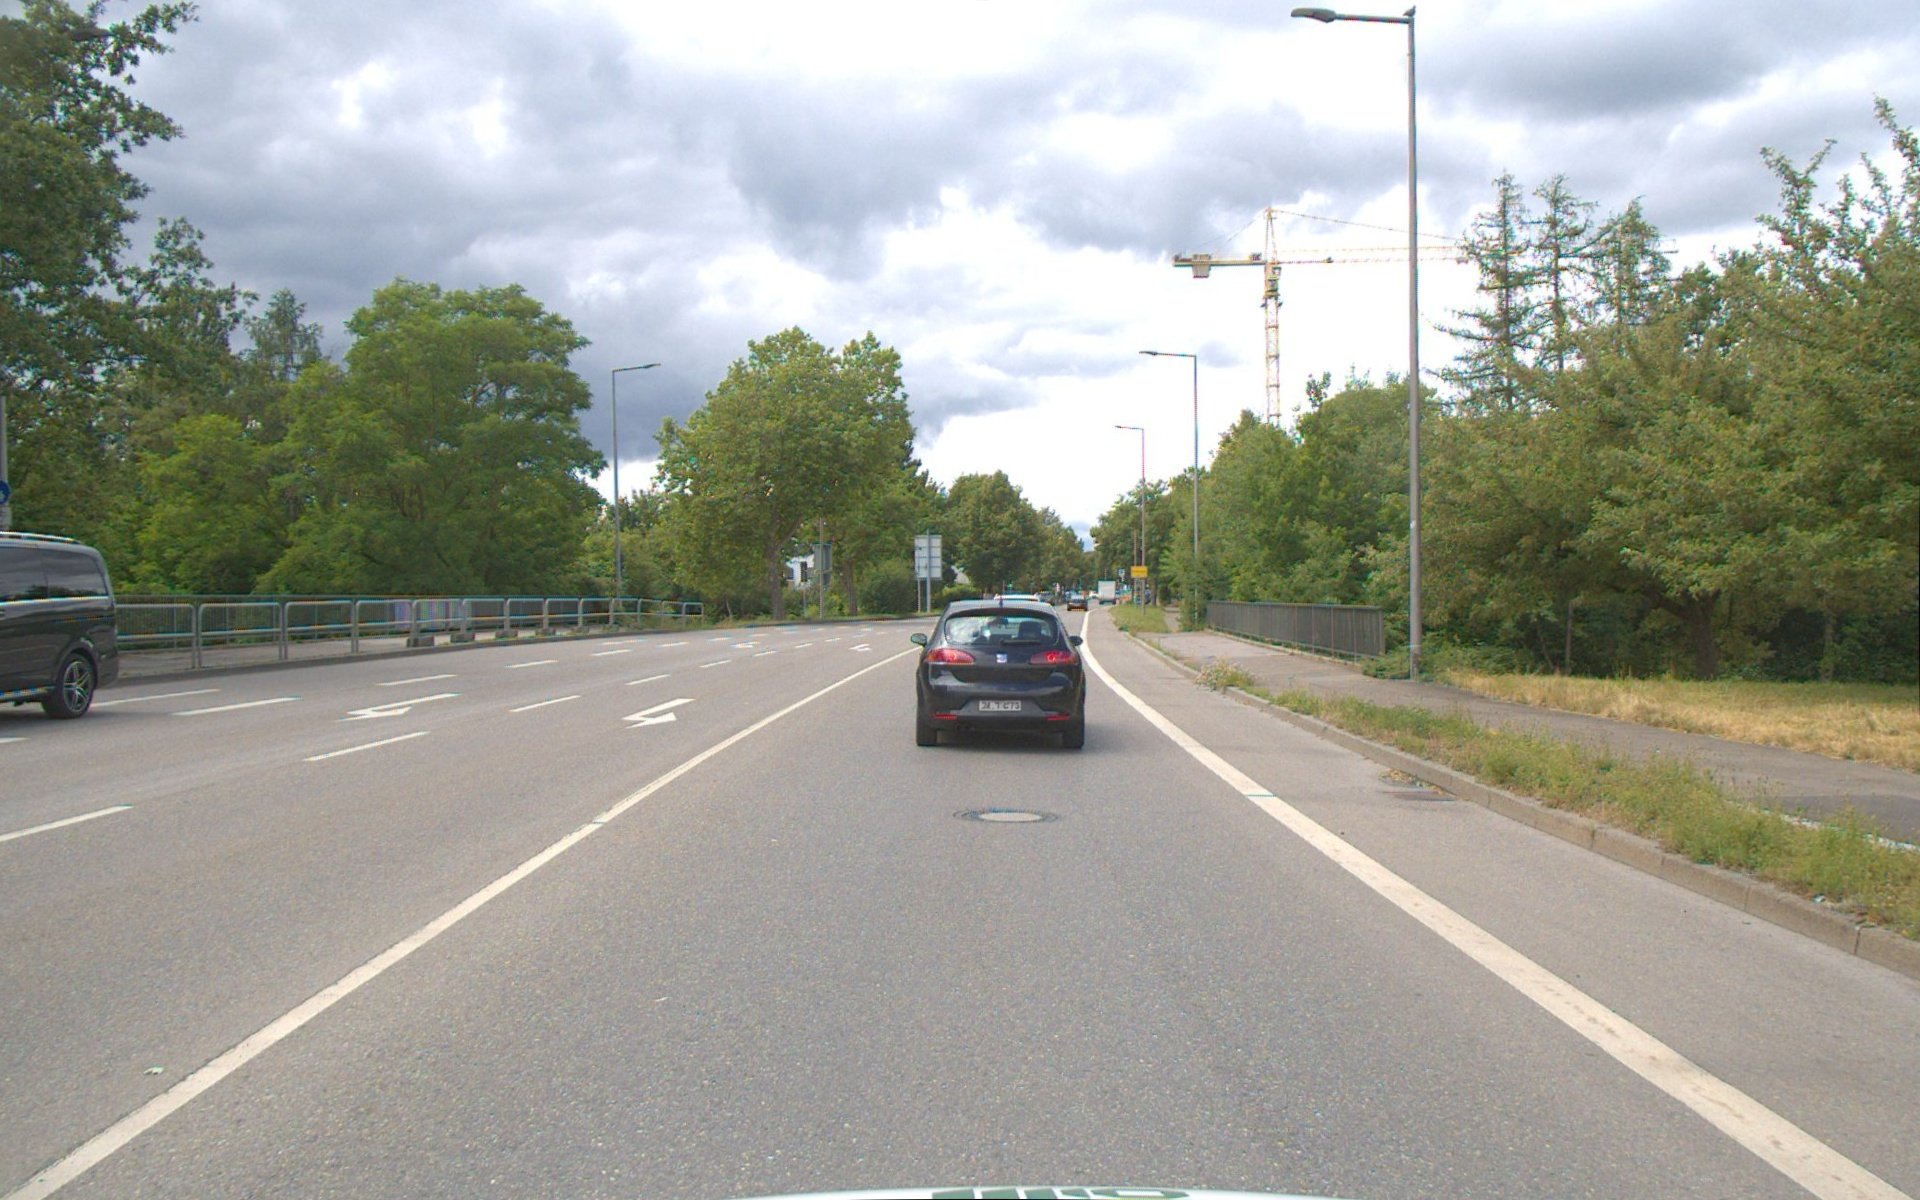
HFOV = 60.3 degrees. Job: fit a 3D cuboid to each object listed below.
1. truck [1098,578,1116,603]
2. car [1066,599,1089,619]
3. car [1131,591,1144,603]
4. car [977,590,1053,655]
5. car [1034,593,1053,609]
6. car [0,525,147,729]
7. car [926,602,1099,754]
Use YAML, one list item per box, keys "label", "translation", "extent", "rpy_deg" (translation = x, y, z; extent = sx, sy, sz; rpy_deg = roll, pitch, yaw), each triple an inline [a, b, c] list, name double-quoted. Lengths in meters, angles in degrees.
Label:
- label: "truck"
  translation: [19.624, -1.264, 220.619]
  extent: [2.230, 3.158, 8.516]
  rpy_deg: [1, 0, 6]
- label: "car"
  translation: [10.542, 0.779, 148.748]
  extent: [1.841, 1.718, 4.217]
  rpy_deg: [-1, 0, 7]
- label: "car"
  translation: [21.936, -0.385, 204.288]
  extent: [1.652, 1.516, 3.357]
  rpy_deg: [-1, 0, 7]
- label: "car"
  translation: [1.423, 0.550, 42.091]
  extent: [1.807, 1.536, 3.813]
  rpy_deg: [1, 0, 2]
- label: "car"
  translation: [10.659, 0.154, 211.031]
  extent: [2.055, 1.929, 5.788]
  rpy_deg: [-2, 0, 7]
- label: "car"
  translation: [-10.314, 0.267, 16.305]
  extent: [1.977, 1.981, 5.364]
  rpy_deg: [0, 0, 0]
- label: "car"
  translation: [0.585, 0.744, 17.685]
  extent: [1.628, 1.426, 3.813]
  rpy_deg: [1, 0, 2]
